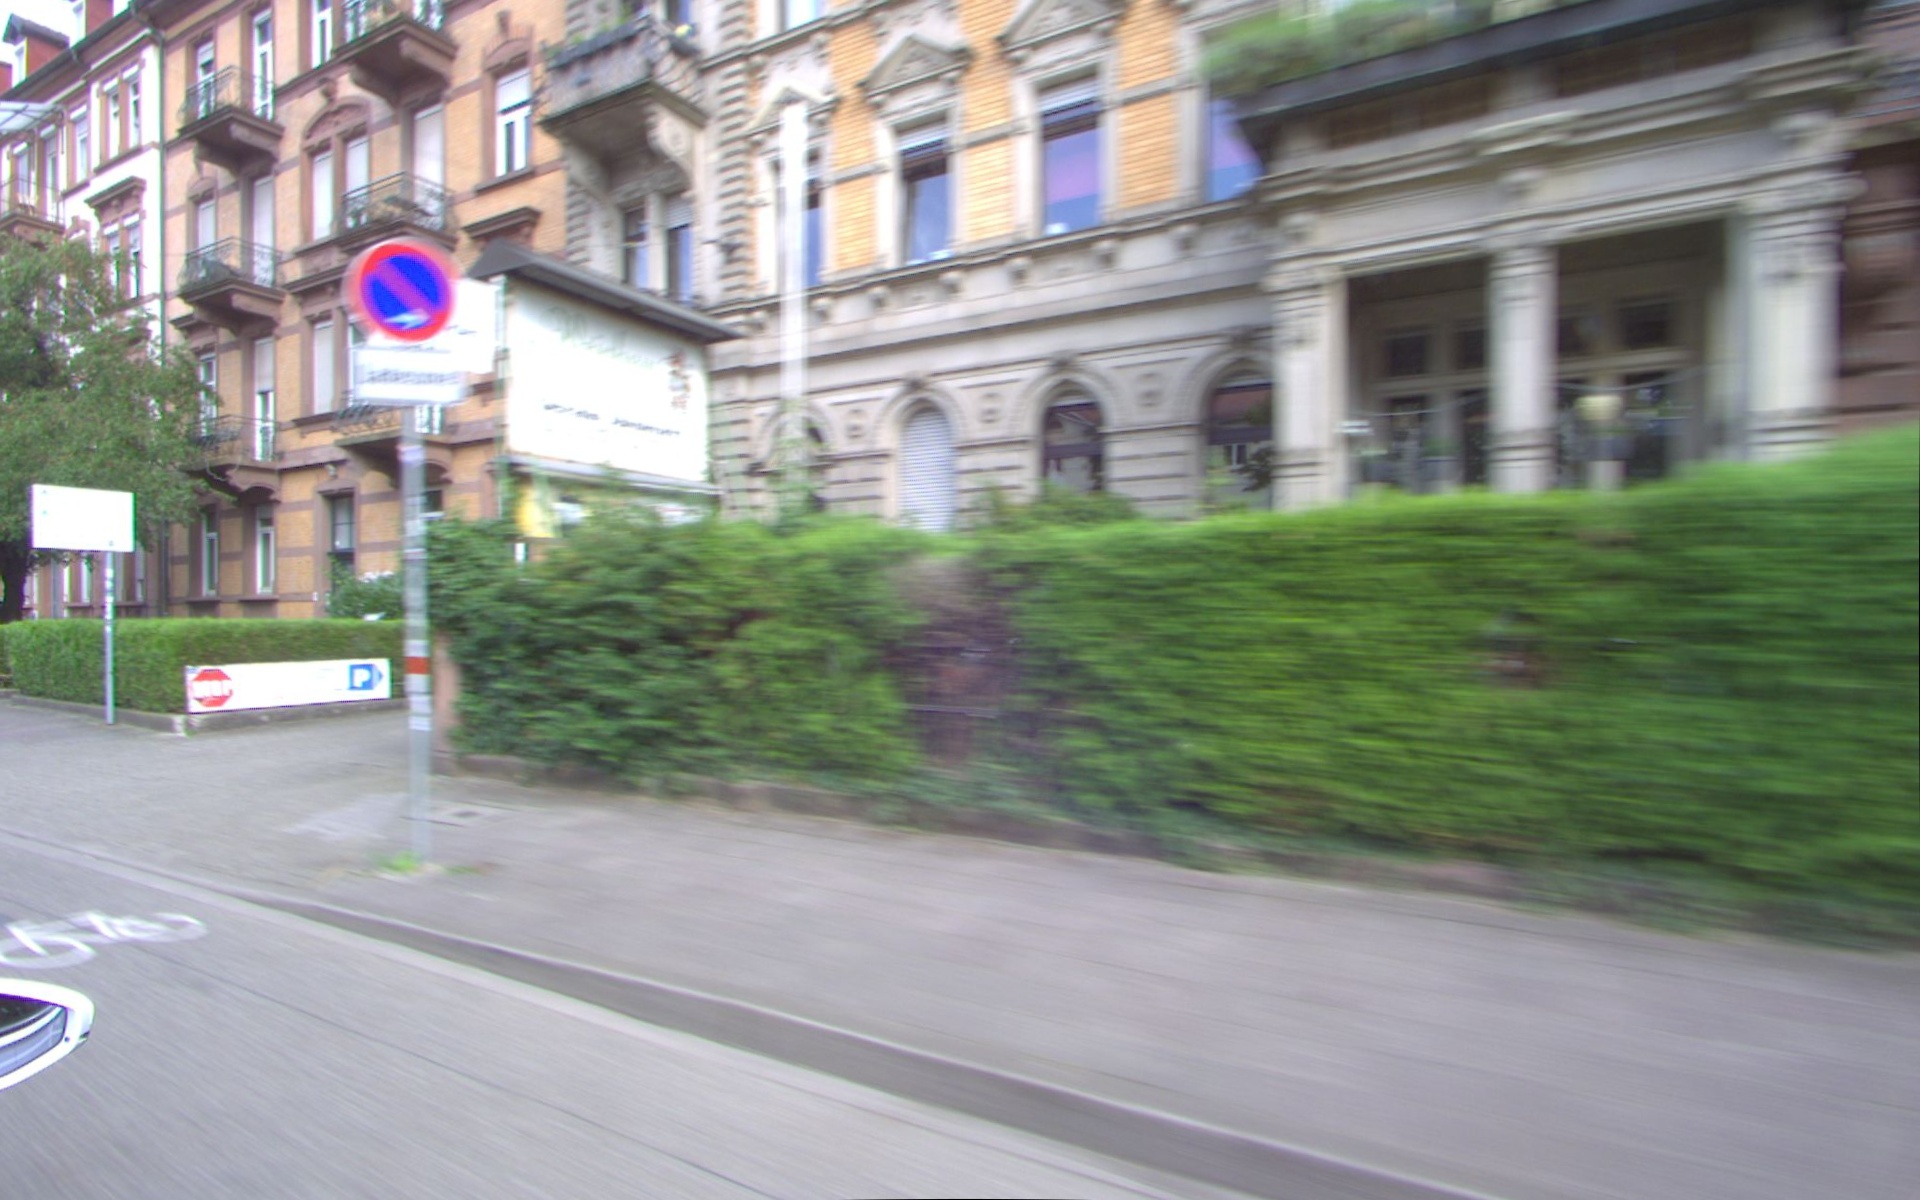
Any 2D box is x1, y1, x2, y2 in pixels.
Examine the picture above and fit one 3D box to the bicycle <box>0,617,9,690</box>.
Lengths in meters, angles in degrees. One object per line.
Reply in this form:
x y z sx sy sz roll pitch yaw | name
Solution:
-18.012 0.968 18.336 1.528 1.299 0.515 0 0 33 | bicycle
